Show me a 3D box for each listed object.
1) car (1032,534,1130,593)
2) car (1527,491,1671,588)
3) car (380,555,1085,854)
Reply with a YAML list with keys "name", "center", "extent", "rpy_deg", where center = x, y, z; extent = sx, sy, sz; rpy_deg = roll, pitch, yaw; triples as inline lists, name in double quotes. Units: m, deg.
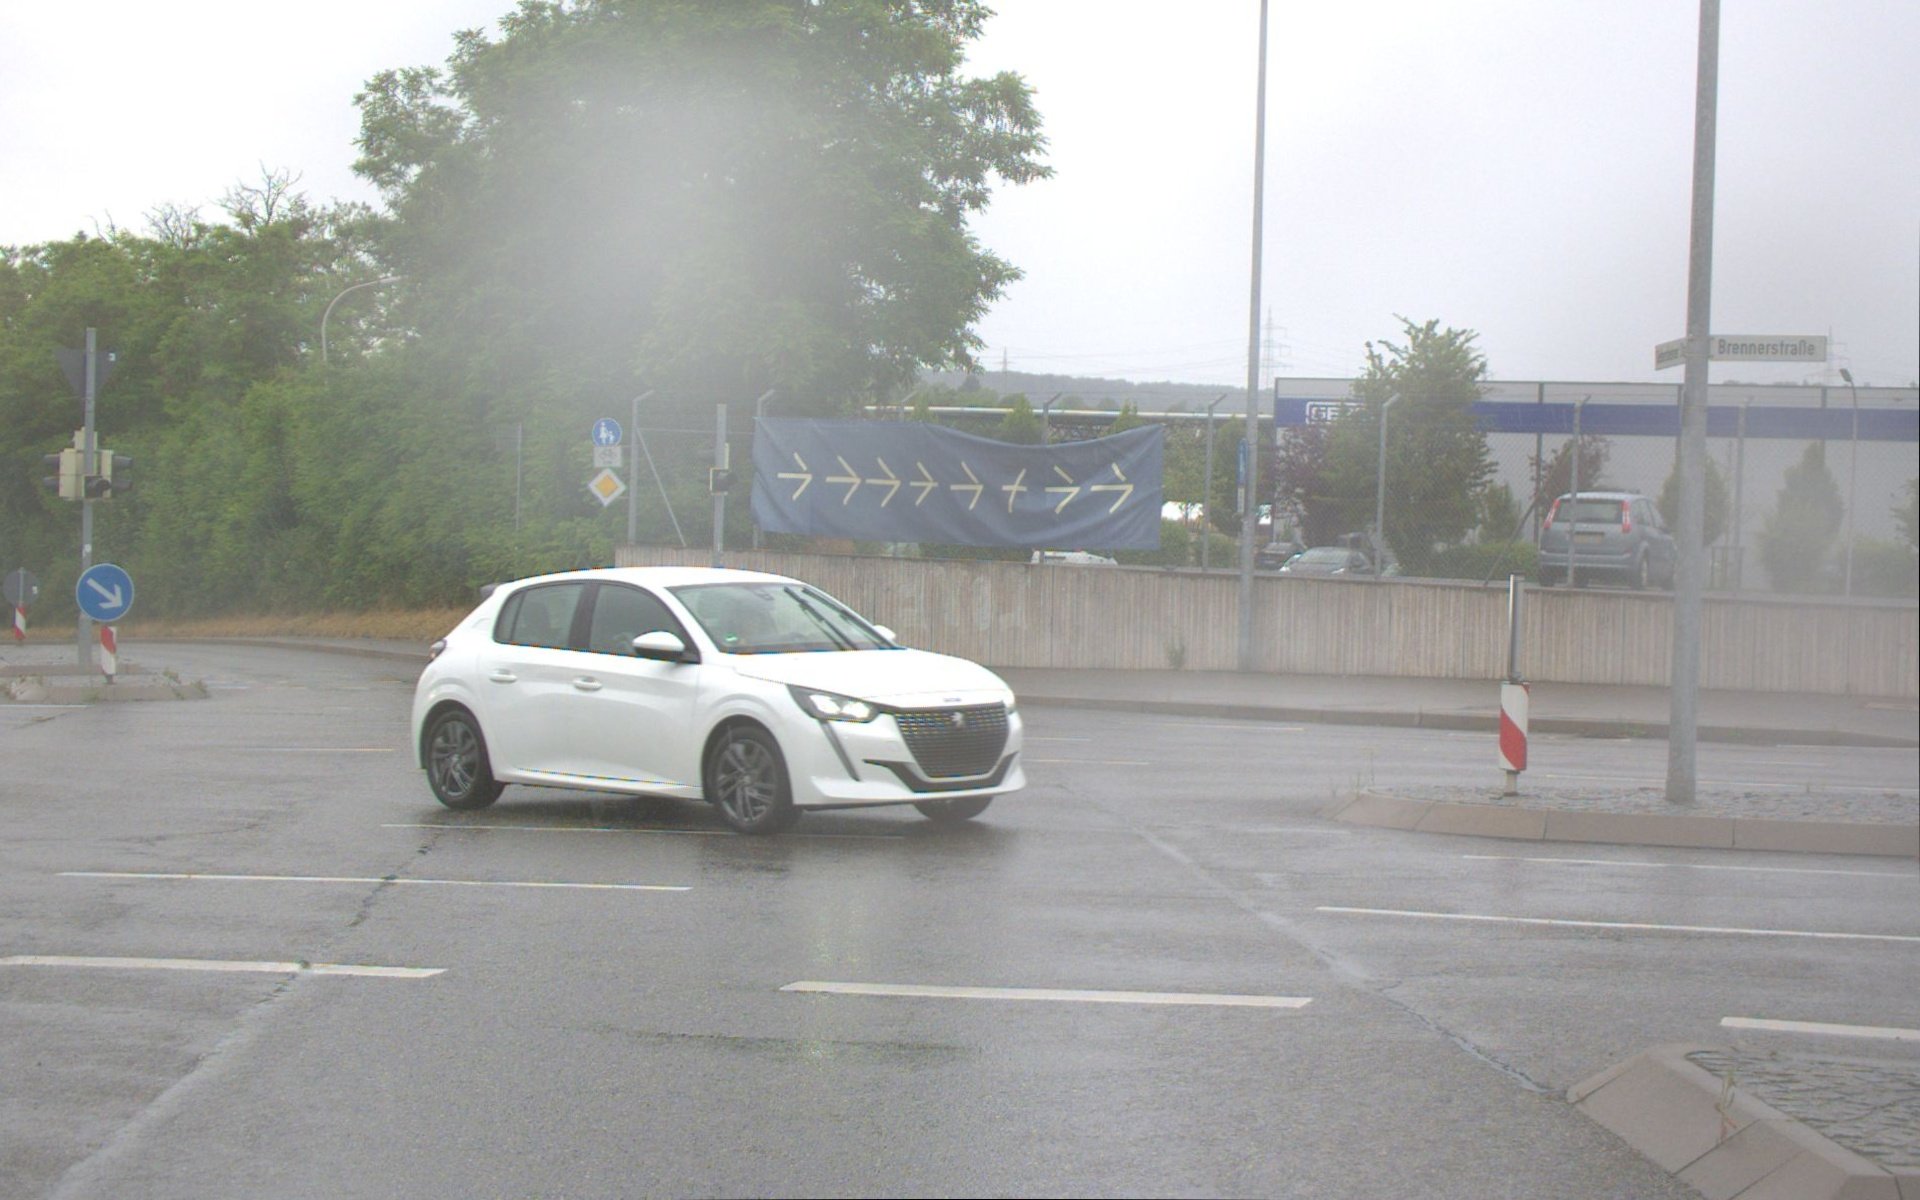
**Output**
- name: "car"
  center: [3.393, -1.004, 95.902]
  extent: [1.668, 1.601, 3.527]
  rpy_deg: [1, 1, 21]
- name: "car"
  center: [10.711, -0.991, 57.436]
  extent: [1.744, 1.548, 3.527]
  rpy_deg: [1, 1, 21]
- name: "car"
  center: [-1.382, 0.518, 19.691]
  extent: [1.866, 1.503, 3.978]
  rpy_deg: [0, 1, -45]
